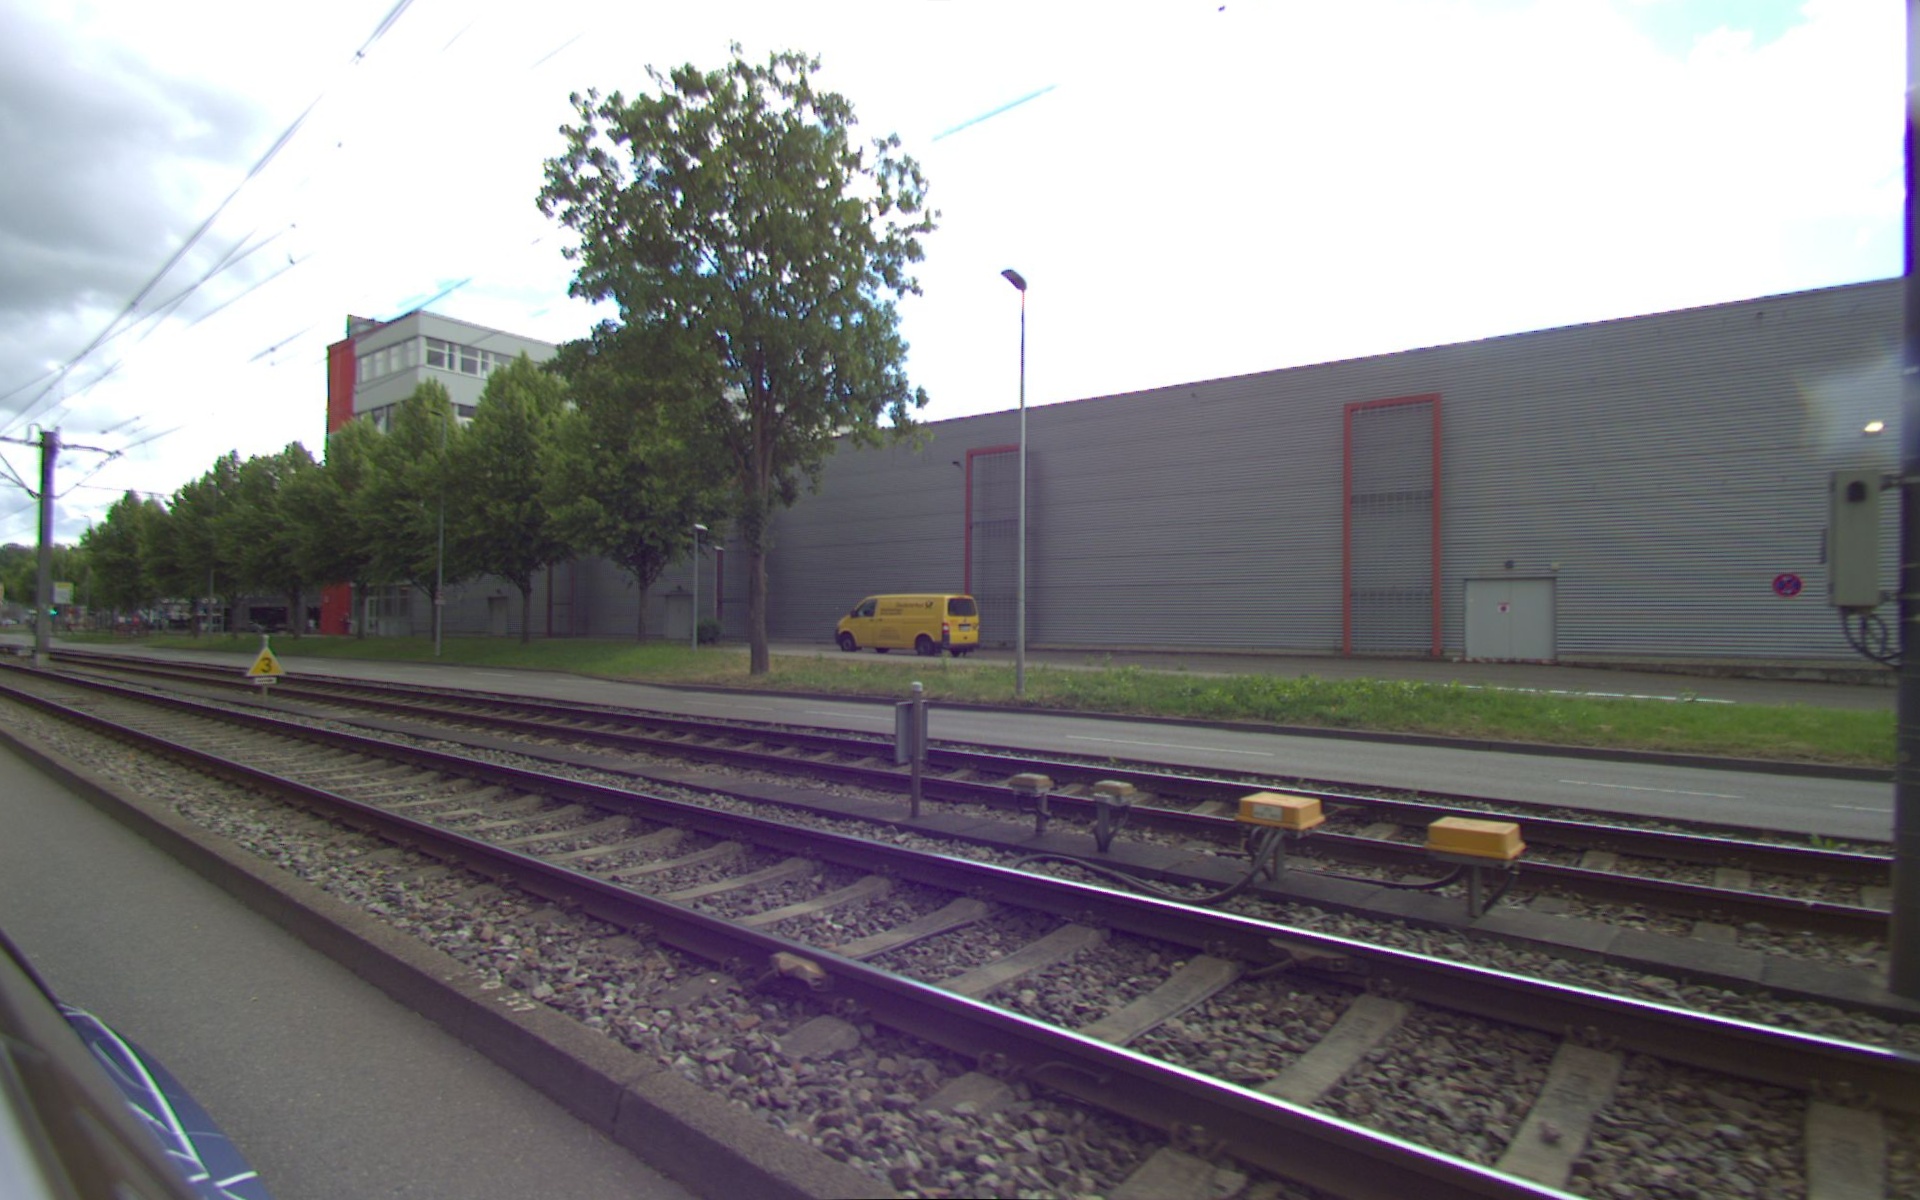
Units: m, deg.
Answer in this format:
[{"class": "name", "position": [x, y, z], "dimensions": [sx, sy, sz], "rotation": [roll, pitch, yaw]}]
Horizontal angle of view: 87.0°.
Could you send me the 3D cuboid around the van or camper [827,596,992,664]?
[{"class": "van or camper", "position": [-1.687, 0.956, 32.557], "dimensions": [5.235, 2.029, 2.083], "rotation": [-1, -2, 38]}]
